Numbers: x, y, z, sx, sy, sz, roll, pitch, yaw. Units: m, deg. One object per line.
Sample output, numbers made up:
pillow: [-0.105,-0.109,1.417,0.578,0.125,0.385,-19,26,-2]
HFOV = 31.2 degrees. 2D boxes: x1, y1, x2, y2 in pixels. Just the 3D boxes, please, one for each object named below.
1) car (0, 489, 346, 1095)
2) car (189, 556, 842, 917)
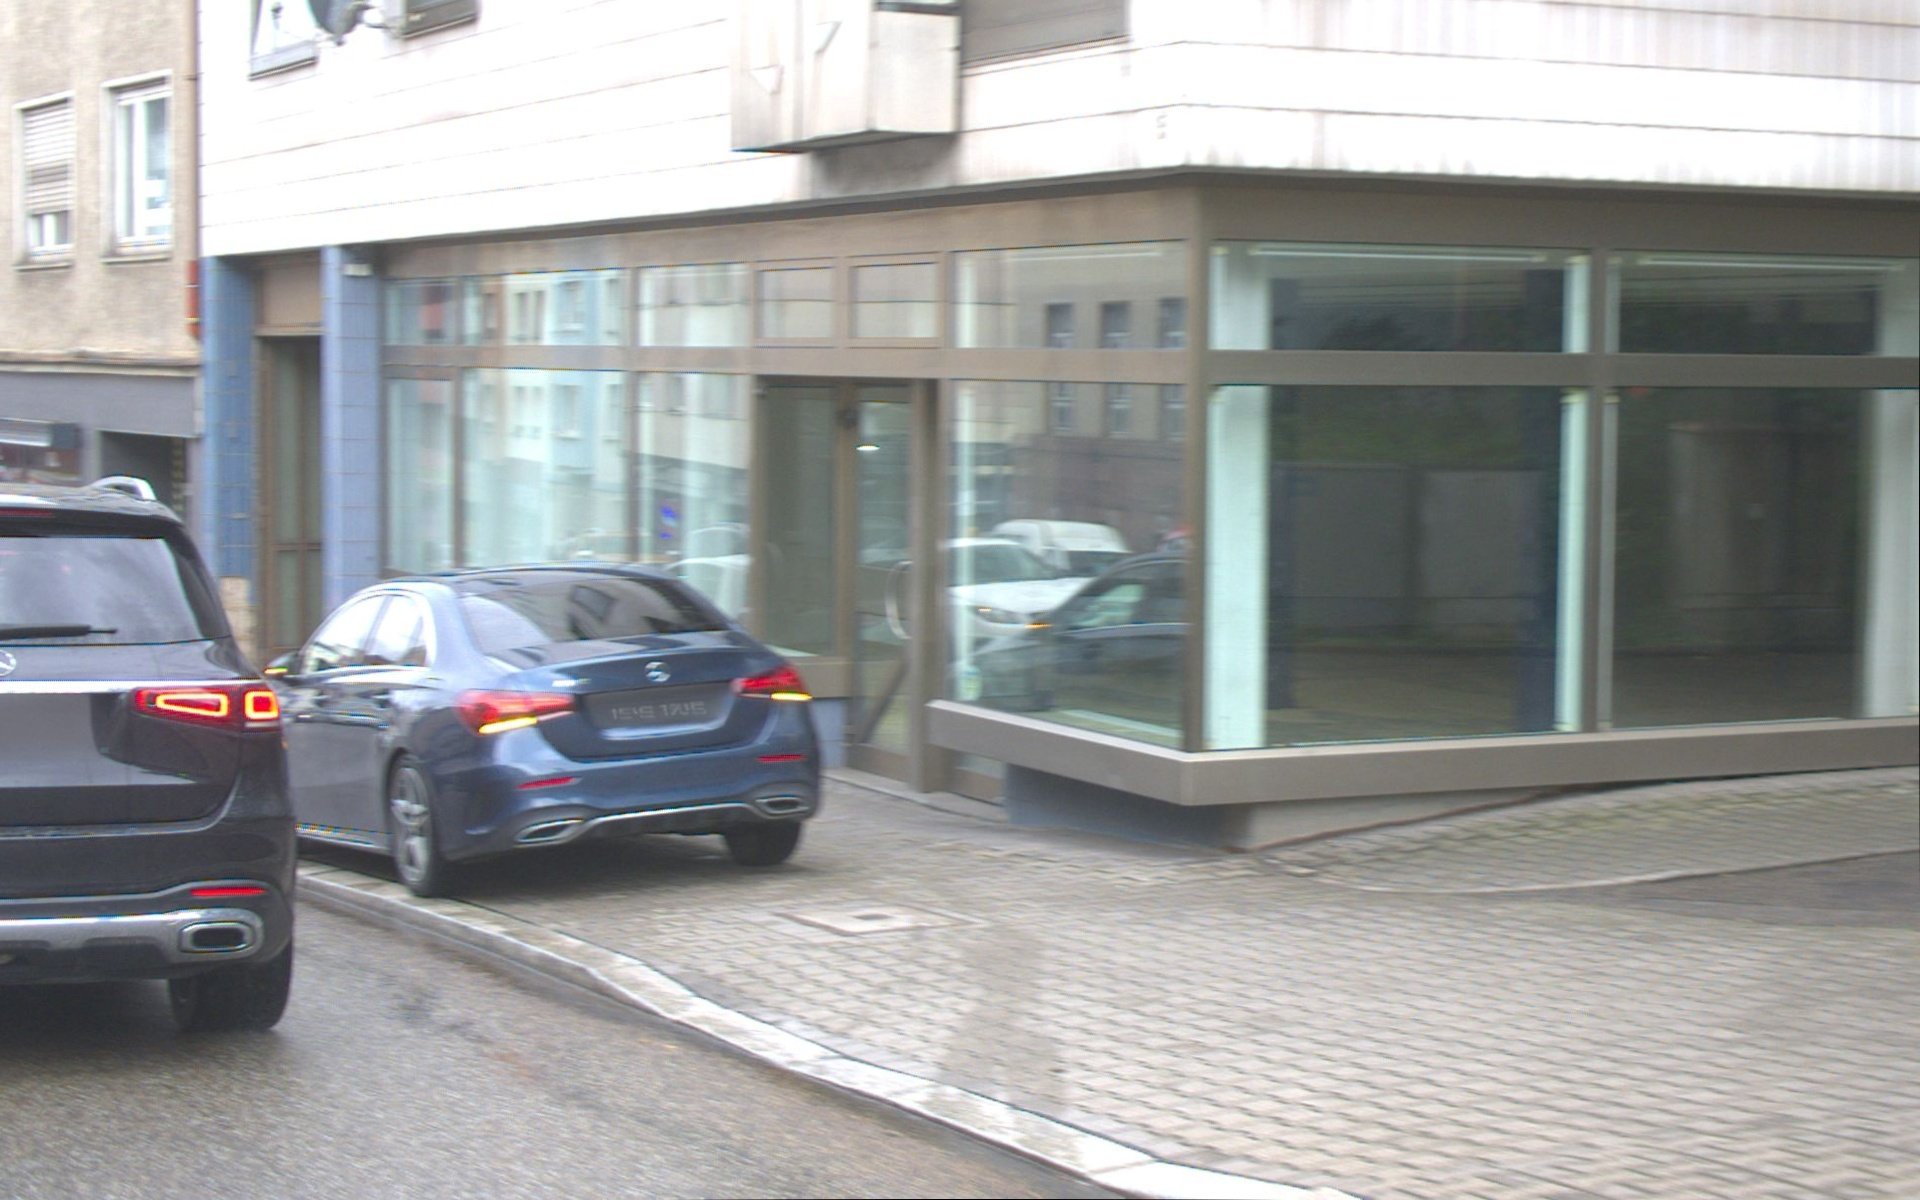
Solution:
car: [-3.727,0.515,11.981,2.020,1.733,4.748,0,1,-24]
car: [-2.265,0.537,16.351,1.763,1.387,4.379,-3,2,-25]
